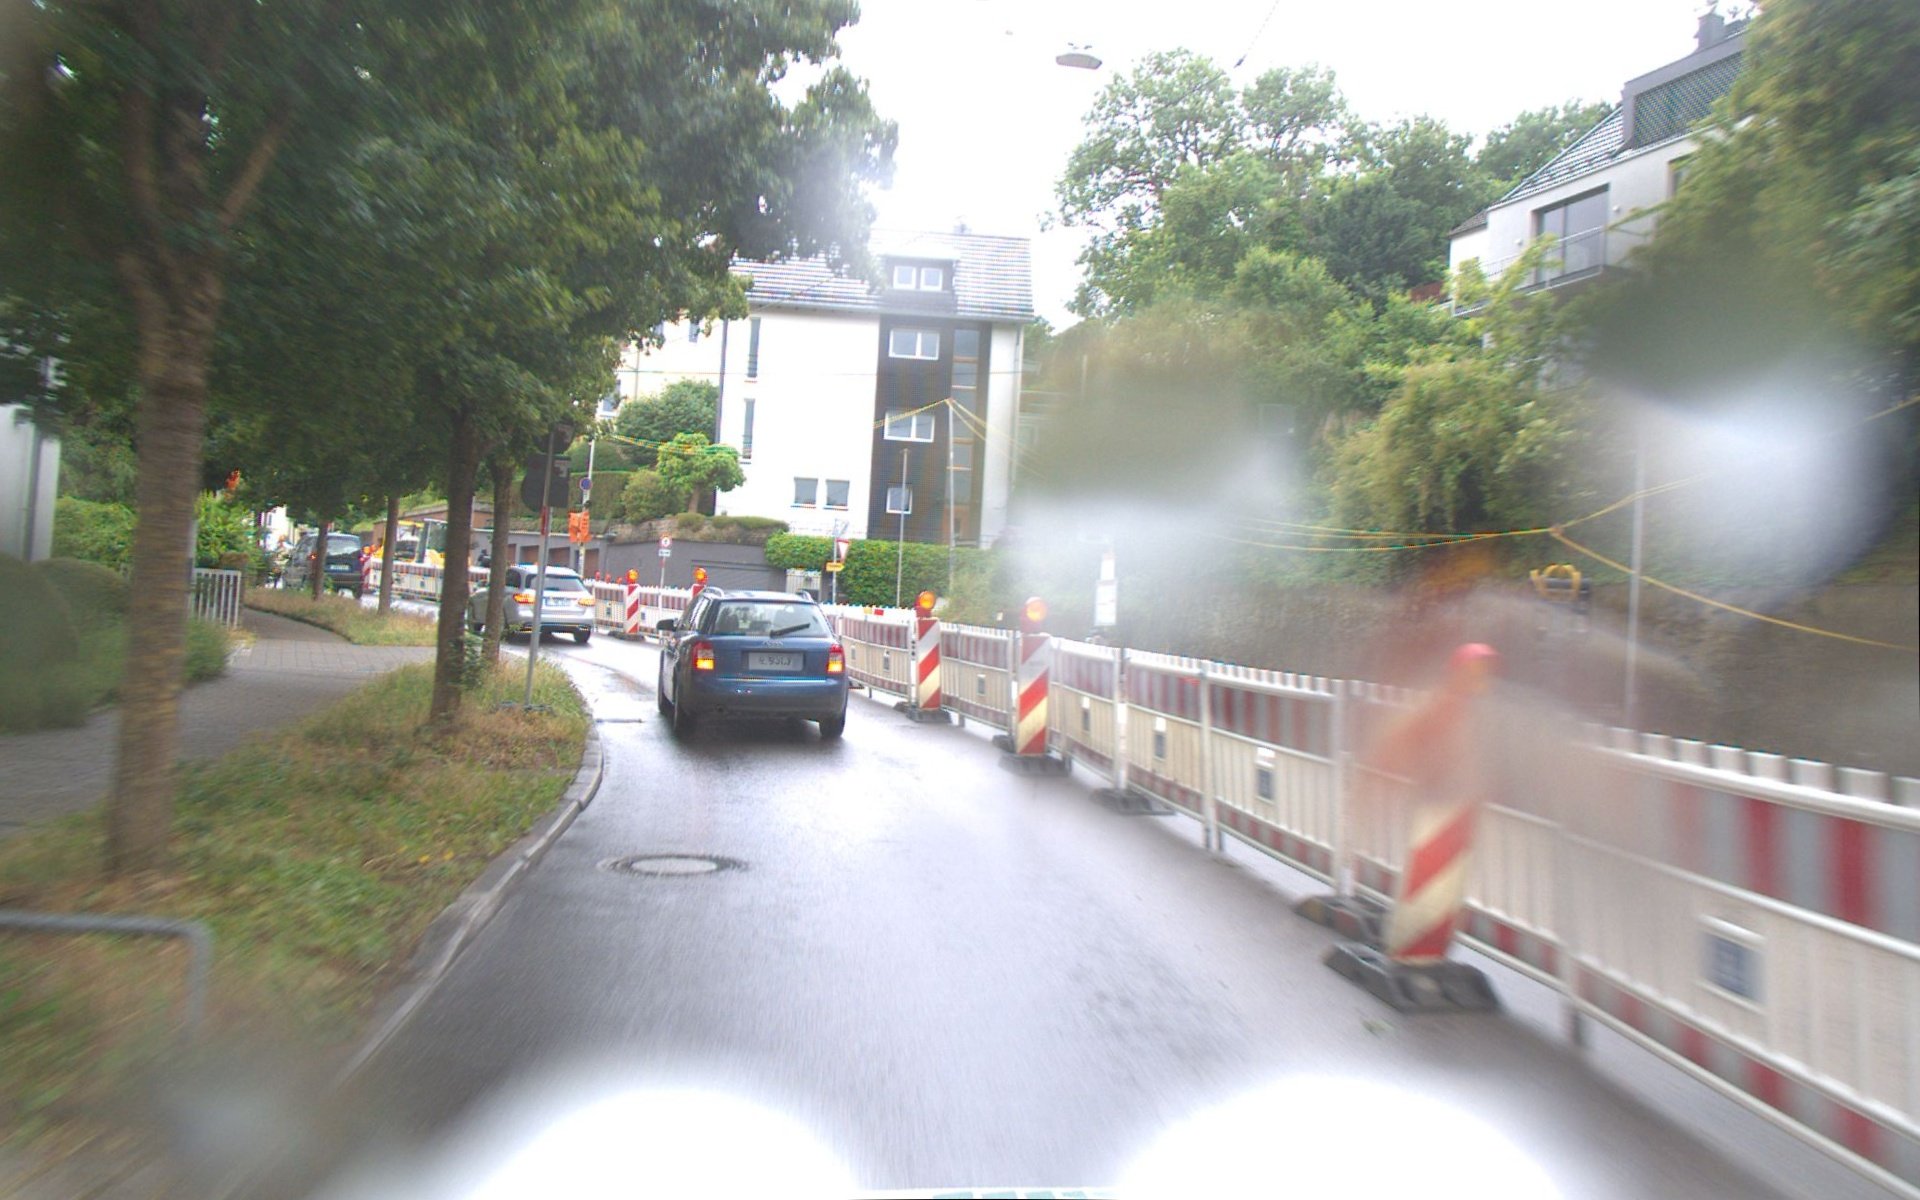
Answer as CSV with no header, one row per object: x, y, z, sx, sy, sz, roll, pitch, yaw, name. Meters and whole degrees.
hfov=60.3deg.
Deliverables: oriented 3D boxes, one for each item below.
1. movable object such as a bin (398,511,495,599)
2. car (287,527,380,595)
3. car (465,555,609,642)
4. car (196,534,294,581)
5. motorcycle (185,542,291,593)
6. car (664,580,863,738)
-17.064,-1.524,54.825,1.976,2.658,3.955,2,3,-33,movable object such as a bin
-18.637,-1.117,49.147,1.973,1.825,3.959,1,-1,-30,car
-8.740,-0.049,33.933,1.904,1.646,4.281,2,0,-28,car
-25.231,-1.467,58.310,4.006,1.512,1.715,-1,-2,43,car
-20.442,-0.917,46.870,2.575,1.255,0.879,4,-1,-35,motorcycle
-2.195,0.546,17.595,1.754,1.467,3.952,1,0,-12,car
